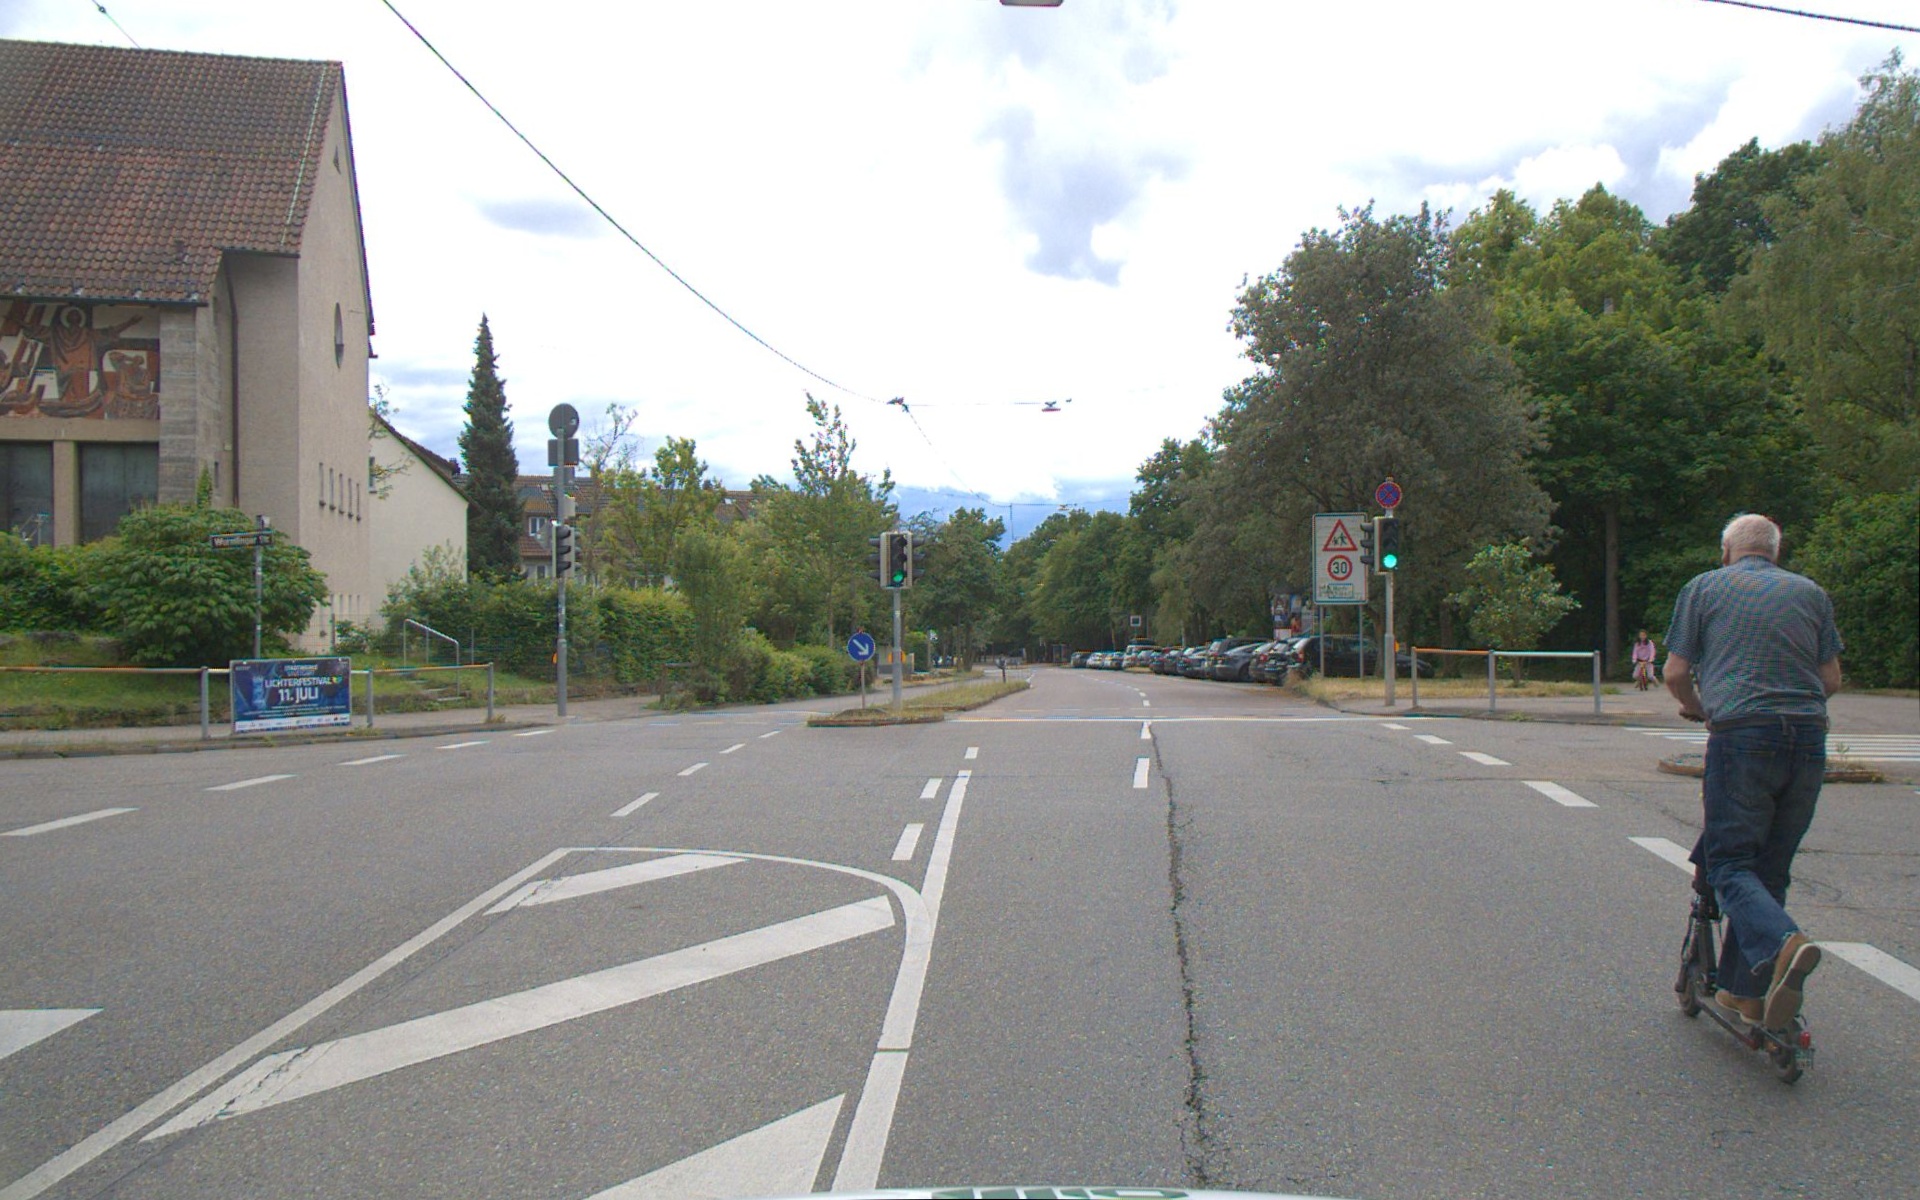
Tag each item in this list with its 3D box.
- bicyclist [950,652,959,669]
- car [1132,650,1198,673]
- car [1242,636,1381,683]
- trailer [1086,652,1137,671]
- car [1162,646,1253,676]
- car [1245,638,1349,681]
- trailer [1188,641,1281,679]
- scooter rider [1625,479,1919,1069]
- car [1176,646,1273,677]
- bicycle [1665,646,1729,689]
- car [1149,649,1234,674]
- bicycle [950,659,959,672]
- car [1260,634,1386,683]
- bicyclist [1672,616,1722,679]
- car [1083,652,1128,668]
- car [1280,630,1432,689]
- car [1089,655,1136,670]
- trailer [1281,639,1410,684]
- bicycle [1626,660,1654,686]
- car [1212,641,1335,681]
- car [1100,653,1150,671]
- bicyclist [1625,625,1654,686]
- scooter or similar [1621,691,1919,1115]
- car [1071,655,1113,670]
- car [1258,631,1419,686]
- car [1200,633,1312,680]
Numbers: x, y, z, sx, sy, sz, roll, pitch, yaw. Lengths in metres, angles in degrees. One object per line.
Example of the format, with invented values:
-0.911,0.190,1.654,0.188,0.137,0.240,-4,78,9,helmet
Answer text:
-0.544,5.987,163.776,0.827,1.727,0.714,0,-2,1,bicyclist
13.217,3.954,106.768,3.895,1.430,1.751,1,-2,-13,car
11.394,1.919,53.745,4.138,1.490,1.632,0,-2,-6,car
12.991,5.276,142.149,4.088,1.601,1.704,1,-3,-17,trailer
12.484,3.080,83.392,4.267,1.471,1.629,0,-2,-12,car
11.913,2.102,58.627,3.263,1.490,1.632,0,-2,-7,car
11.764,2.572,71.030,3.620,1.562,1.642,1,-2,-9,trailer
2.718,0.519,5.581,0.667,1.760,1.197,0,0,12,scooter rider
11.681,2.744,73.185,3.959,1.351,1.557,0,-3,-7,car
14.024,1.281,31.513,0.626,0.772,1.682,-1,-1,6,bicycle
12.437,3.307,88.970,4.235,1.365,1.728,0,-3,-11,car
-0.541,6.502,163.732,0.827,1.288,2.652,0,-1,1,bicycle
11.212,1.805,51.190,3.459,1.502,1.588,0,-2,-10,car
14.024,0.897,31.495,0.626,1.182,0.804,-1,-1,6,bicyclist
13.497,5.547,153.188,3.823,1.454,1.735,1,-2,-18,car
10.372,1.557,43.469,3.639,1.502,1.576,0,-2,0,car
13.355,5.493,144.819,3.830,1.333,1.732,1,-3,-22,car
11.355,1.829,48.835,3.337,1.289,1.614,0,-3,-7,trailer
13.783,1.485,33.540,0.507,0.506,0.988,-2,-3,22,bicycle
11.437,2.222,60.494,4.082,1.431,1.694,0,-3,-8,car
13.982,5.256,139.932,3.826,1.474,1.734,1,-3,-19,car
13.777,1.133,33.550,0.507,1.208,0.967,-2,-3,22,bicyclist
2.735,0.929,5.604,0.667,1.159,1.461,0,0,12,scooter or similar
13.034,6.129,163.197,3.823,1.454,1.735,1,-2,-18,car
10.485,1.630,45.944,4.058,1.502,1.573,0,-2,-8,car
11.334,2.176,63.382,3.909,1.755,1.678,0,-3,-7,car
